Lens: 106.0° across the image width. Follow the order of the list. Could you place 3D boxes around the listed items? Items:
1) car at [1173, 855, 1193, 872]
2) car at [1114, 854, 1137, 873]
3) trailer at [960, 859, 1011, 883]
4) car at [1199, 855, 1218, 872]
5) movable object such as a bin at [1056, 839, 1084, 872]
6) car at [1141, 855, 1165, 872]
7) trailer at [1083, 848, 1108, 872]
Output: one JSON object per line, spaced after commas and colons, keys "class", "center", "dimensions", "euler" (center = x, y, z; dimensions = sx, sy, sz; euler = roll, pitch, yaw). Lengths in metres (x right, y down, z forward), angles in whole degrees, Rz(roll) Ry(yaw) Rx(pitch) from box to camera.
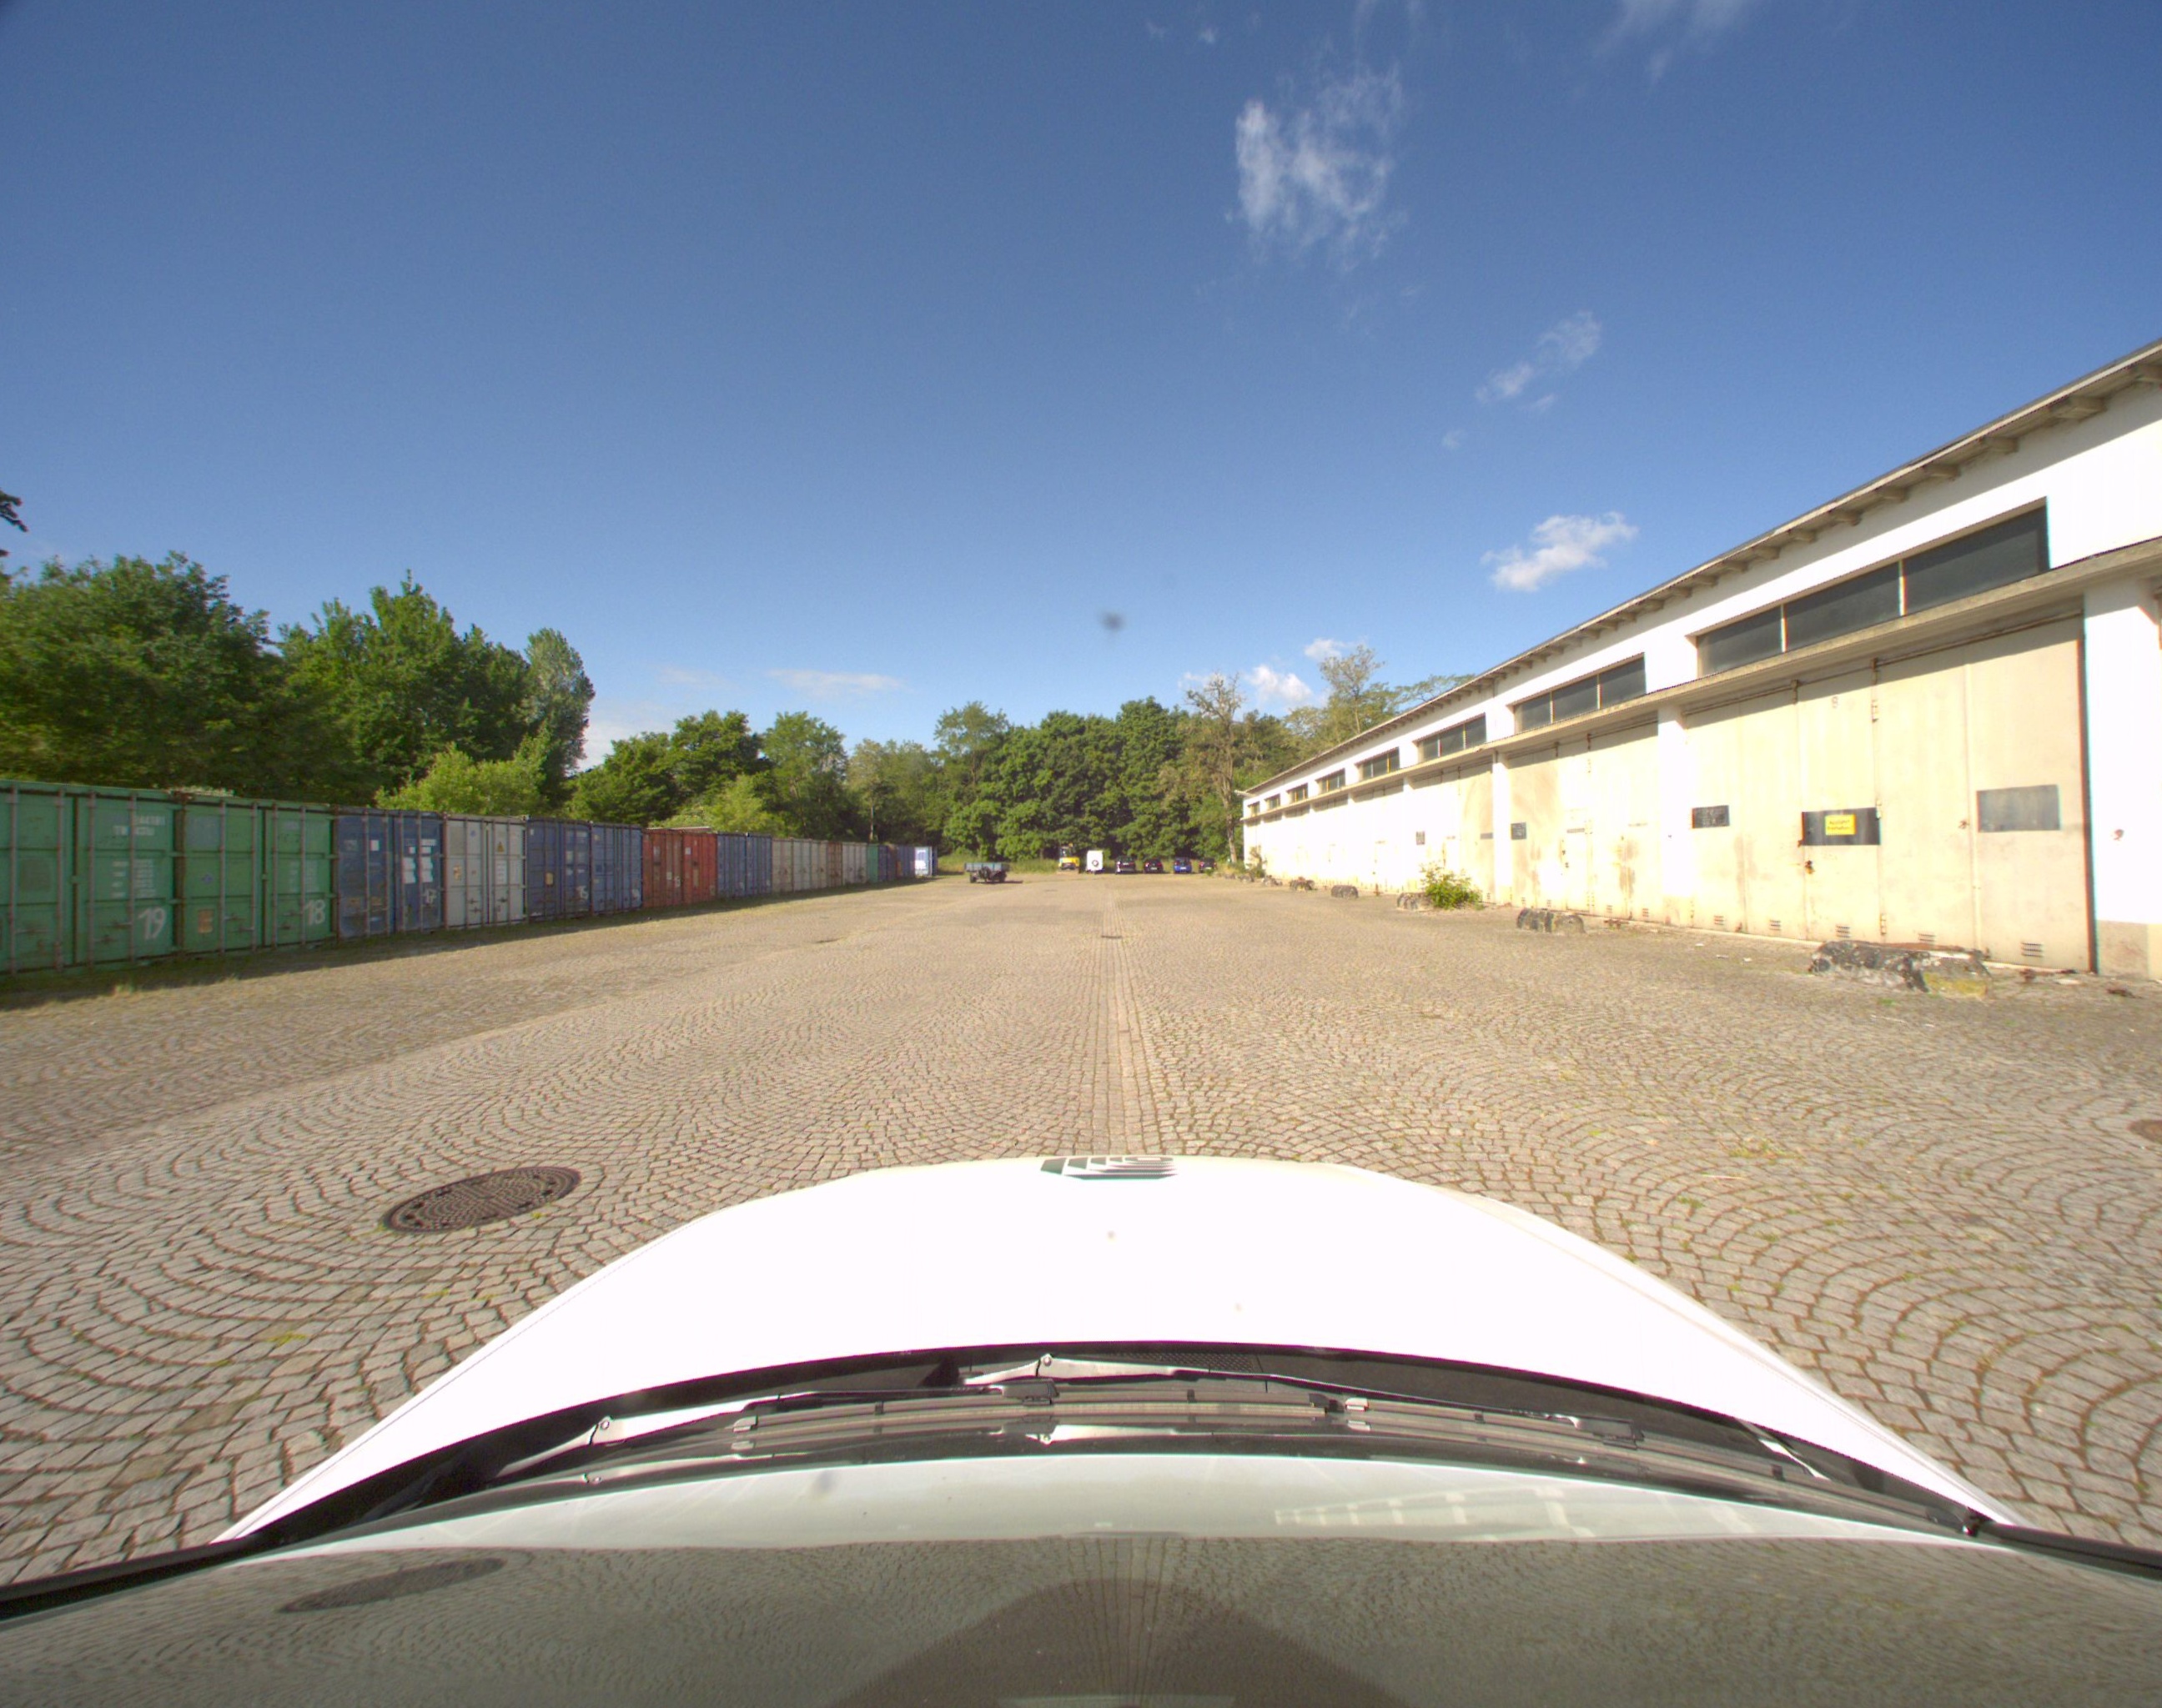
{"class": "car", "center": [9.228, 0.861, 73.527], "dimensions": [1.735, 1.436, 4.191], "euler": [0, 1, 7]}
{"class": "car", "center": [3.978, 0.865, 73.320], "dimensions": [1.857, 1.589, 4.297], "euler": [0, 1, 1]}
{"class": "trailer", "center": [-6.454, 1.120, 55.794], "dimensions": [2.696, 1.465, 6.247], "euler": [0, 0, 0]}
{"class": "car", "center": [11.715, 0.864, 74.890], "dimensions": [1.734, 1.436, 4.193], "euler": [0, 1, 9]}
{"class": "movable object such as a bin", "center": [-1.004, 0.082, 76.393], "dimensions": [2.297, 2.896, 5.755], "euler": [0, 1, 2]}
{"class": "car", "center": [6.472, 0.841, 73.640], "dimensions": [1.857, 1.470, 4.297], "euler": [0, 1, 1]}
{"class": "trailer", "center": [1.354, 0.519, 75.752], "dimensions": [2.185, 2.094, 5.753], "euler": [0, 1, 1]}
